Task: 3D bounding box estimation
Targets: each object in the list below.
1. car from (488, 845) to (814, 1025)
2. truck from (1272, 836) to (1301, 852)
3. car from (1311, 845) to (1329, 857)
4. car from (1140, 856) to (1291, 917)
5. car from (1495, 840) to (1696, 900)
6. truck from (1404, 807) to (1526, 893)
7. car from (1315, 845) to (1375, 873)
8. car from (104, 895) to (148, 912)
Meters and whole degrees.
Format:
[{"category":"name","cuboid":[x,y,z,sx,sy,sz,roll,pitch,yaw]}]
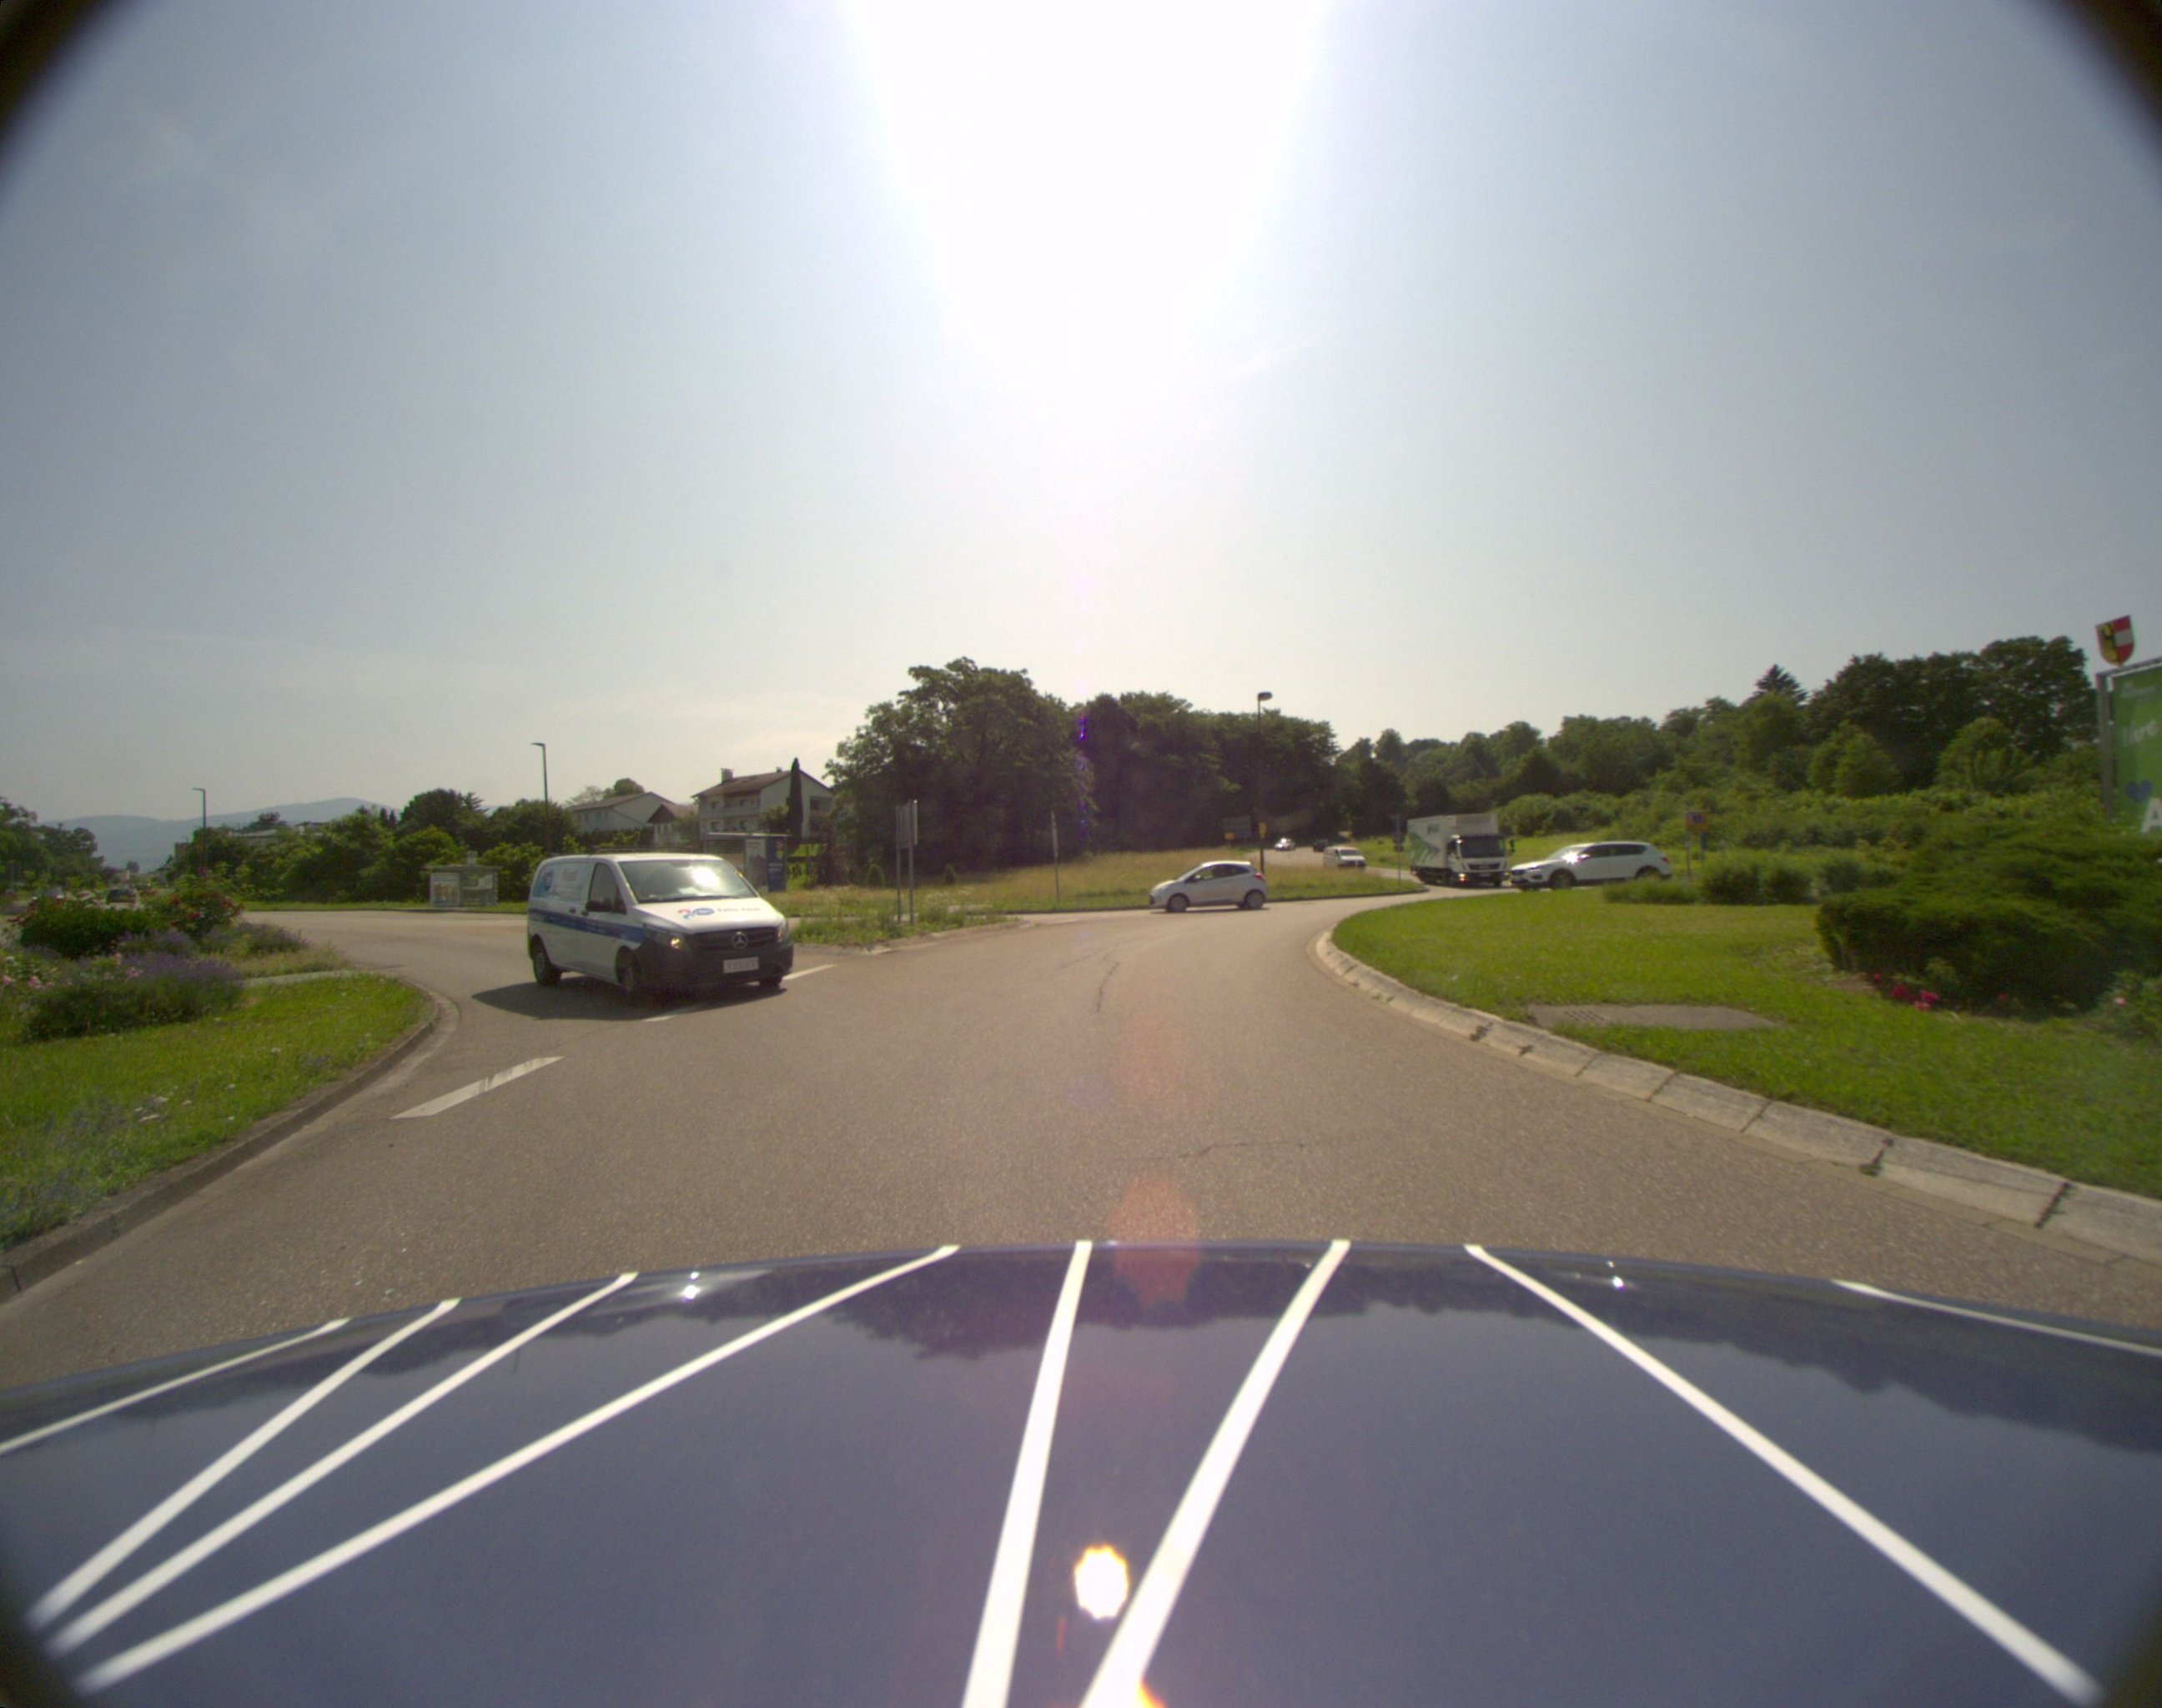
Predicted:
[{"category":"car","cuboid":[-6.162,0.975,10.596,5.216,1.926,1.864,-3,1,36]},{"category":"truck","cuboid":[27.268,-1.362,100.817,2.357,2.002,5.449,-2,0,30]},{"category":"car","cuboid":[30.834,-0.392,97.926,1.753,1.521,4.221,1,-1,25]},{"category":"car","cuboid":[4.067,0.993,23.574,4.197,1.605,2.129,-3,-2,-2]},{"category":"car","cuboid":[16.821,0.519,25.050,5.118,1.642,2.197,-3,0,-1]},{"category":"truck","cuboid":[19.366,-0.208,39.073,2.896,3.807,9.029,-3,0,9]},{"category":"car","cuboid":[20.414,0.367,59.033,2.000,2.002,5.599,-3,0,-7]},{"category":"car","cuboid":[-91.637,4.697,72.899,4.030,1.475,1.777,-1,0,26]}]
